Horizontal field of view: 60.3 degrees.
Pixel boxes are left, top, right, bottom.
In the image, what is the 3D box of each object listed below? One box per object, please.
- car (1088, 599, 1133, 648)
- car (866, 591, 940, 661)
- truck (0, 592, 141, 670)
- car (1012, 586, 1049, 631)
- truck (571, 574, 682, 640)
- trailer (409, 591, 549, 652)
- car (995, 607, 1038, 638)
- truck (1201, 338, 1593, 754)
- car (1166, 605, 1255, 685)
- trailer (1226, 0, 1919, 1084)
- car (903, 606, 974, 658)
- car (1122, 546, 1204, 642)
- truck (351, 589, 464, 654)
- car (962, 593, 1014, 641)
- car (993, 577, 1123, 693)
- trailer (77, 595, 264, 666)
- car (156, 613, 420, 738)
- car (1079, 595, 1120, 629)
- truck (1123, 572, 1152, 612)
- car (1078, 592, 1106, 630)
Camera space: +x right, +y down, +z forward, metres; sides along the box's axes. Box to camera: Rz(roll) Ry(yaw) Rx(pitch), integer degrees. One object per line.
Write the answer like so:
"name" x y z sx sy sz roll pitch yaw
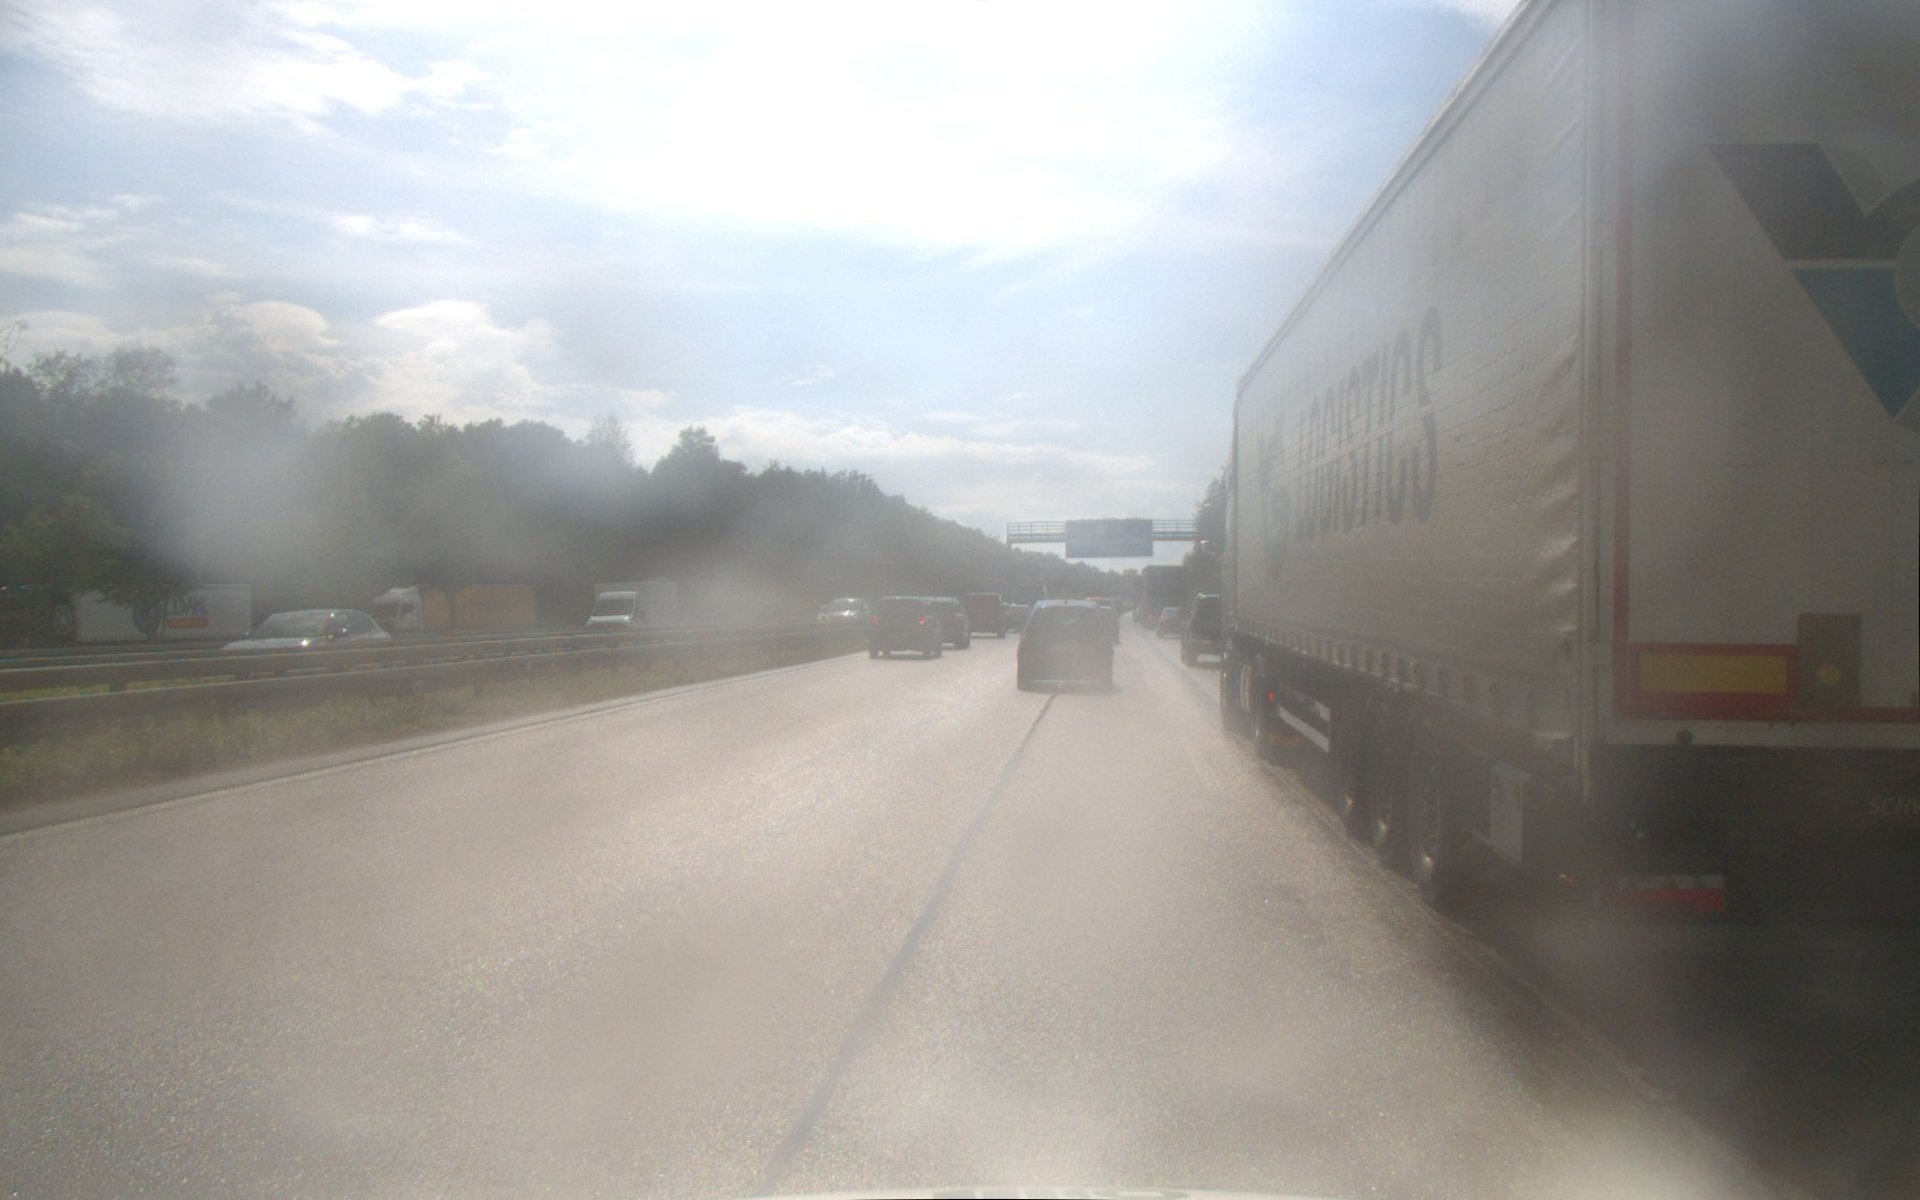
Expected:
"car" 5.988 0.940 66.021 1.657 1.836 3.977 1 -1 3
"car" -1.549 0.720 46.155 1.657 1.836 3.977 1 -1 3
"truck" -45.162 1.549 83.280 3.707 3.724 6.710 1 -1 10
"car" 4.426 0.564 102.560 1.951 2.661 5.262 1 -1 6
"truck" -14.650 0.334 73.150 2.782 2.729 7.195 1 -1 5
"trailer" -34.960 1.624 120.908 3.708 4.189 11.729 1 -1 18
"car" 3.037 1.203 88.134 1.951 1.592 4.759 1 -1 6
"truck" 4.681 -0.519 19.199 3.215 3.959 6.399 1 0 4
"car" 6.531 1.148 43.597 1.901 1.952 5.655 1 -1 5
"trailer" 4.228 -0.416 12.180 3.215 3.967 14.135 1 0 4
"car" -0.694 1.063 55.779 1.868 1.665 4.619 -1 -1 6
"car" 13.556 -0.258 112.178 4.312 5.932 16.823 1 -1 3
"truck" -37.625 1.470 112.906 3.708 4.189 7.048 1 -1 18
"car" 1.308 0.769 74.613 1.937 2.090 4.759 1 -1 6
"car" 1.875 0.646 31.316 2.226 1.989 4.823 1 -1 4
"trailer" -43.484 1.636 91.632 3.708 3.713 10.506 -1 0 12
"car" -11.391 1.220 28.507 2.252 1.924 4.781 1 -1 5
"car" 6.673 0.586 79.553 1.826 1.542 3.977 1 -1 3
"truck" 16.937 -0.743 157.927 2.716 3.695 5.920 1 -1 6
"car" 9.966 0.829 124.569 1.951 2.795 5.262 1 -1 6
